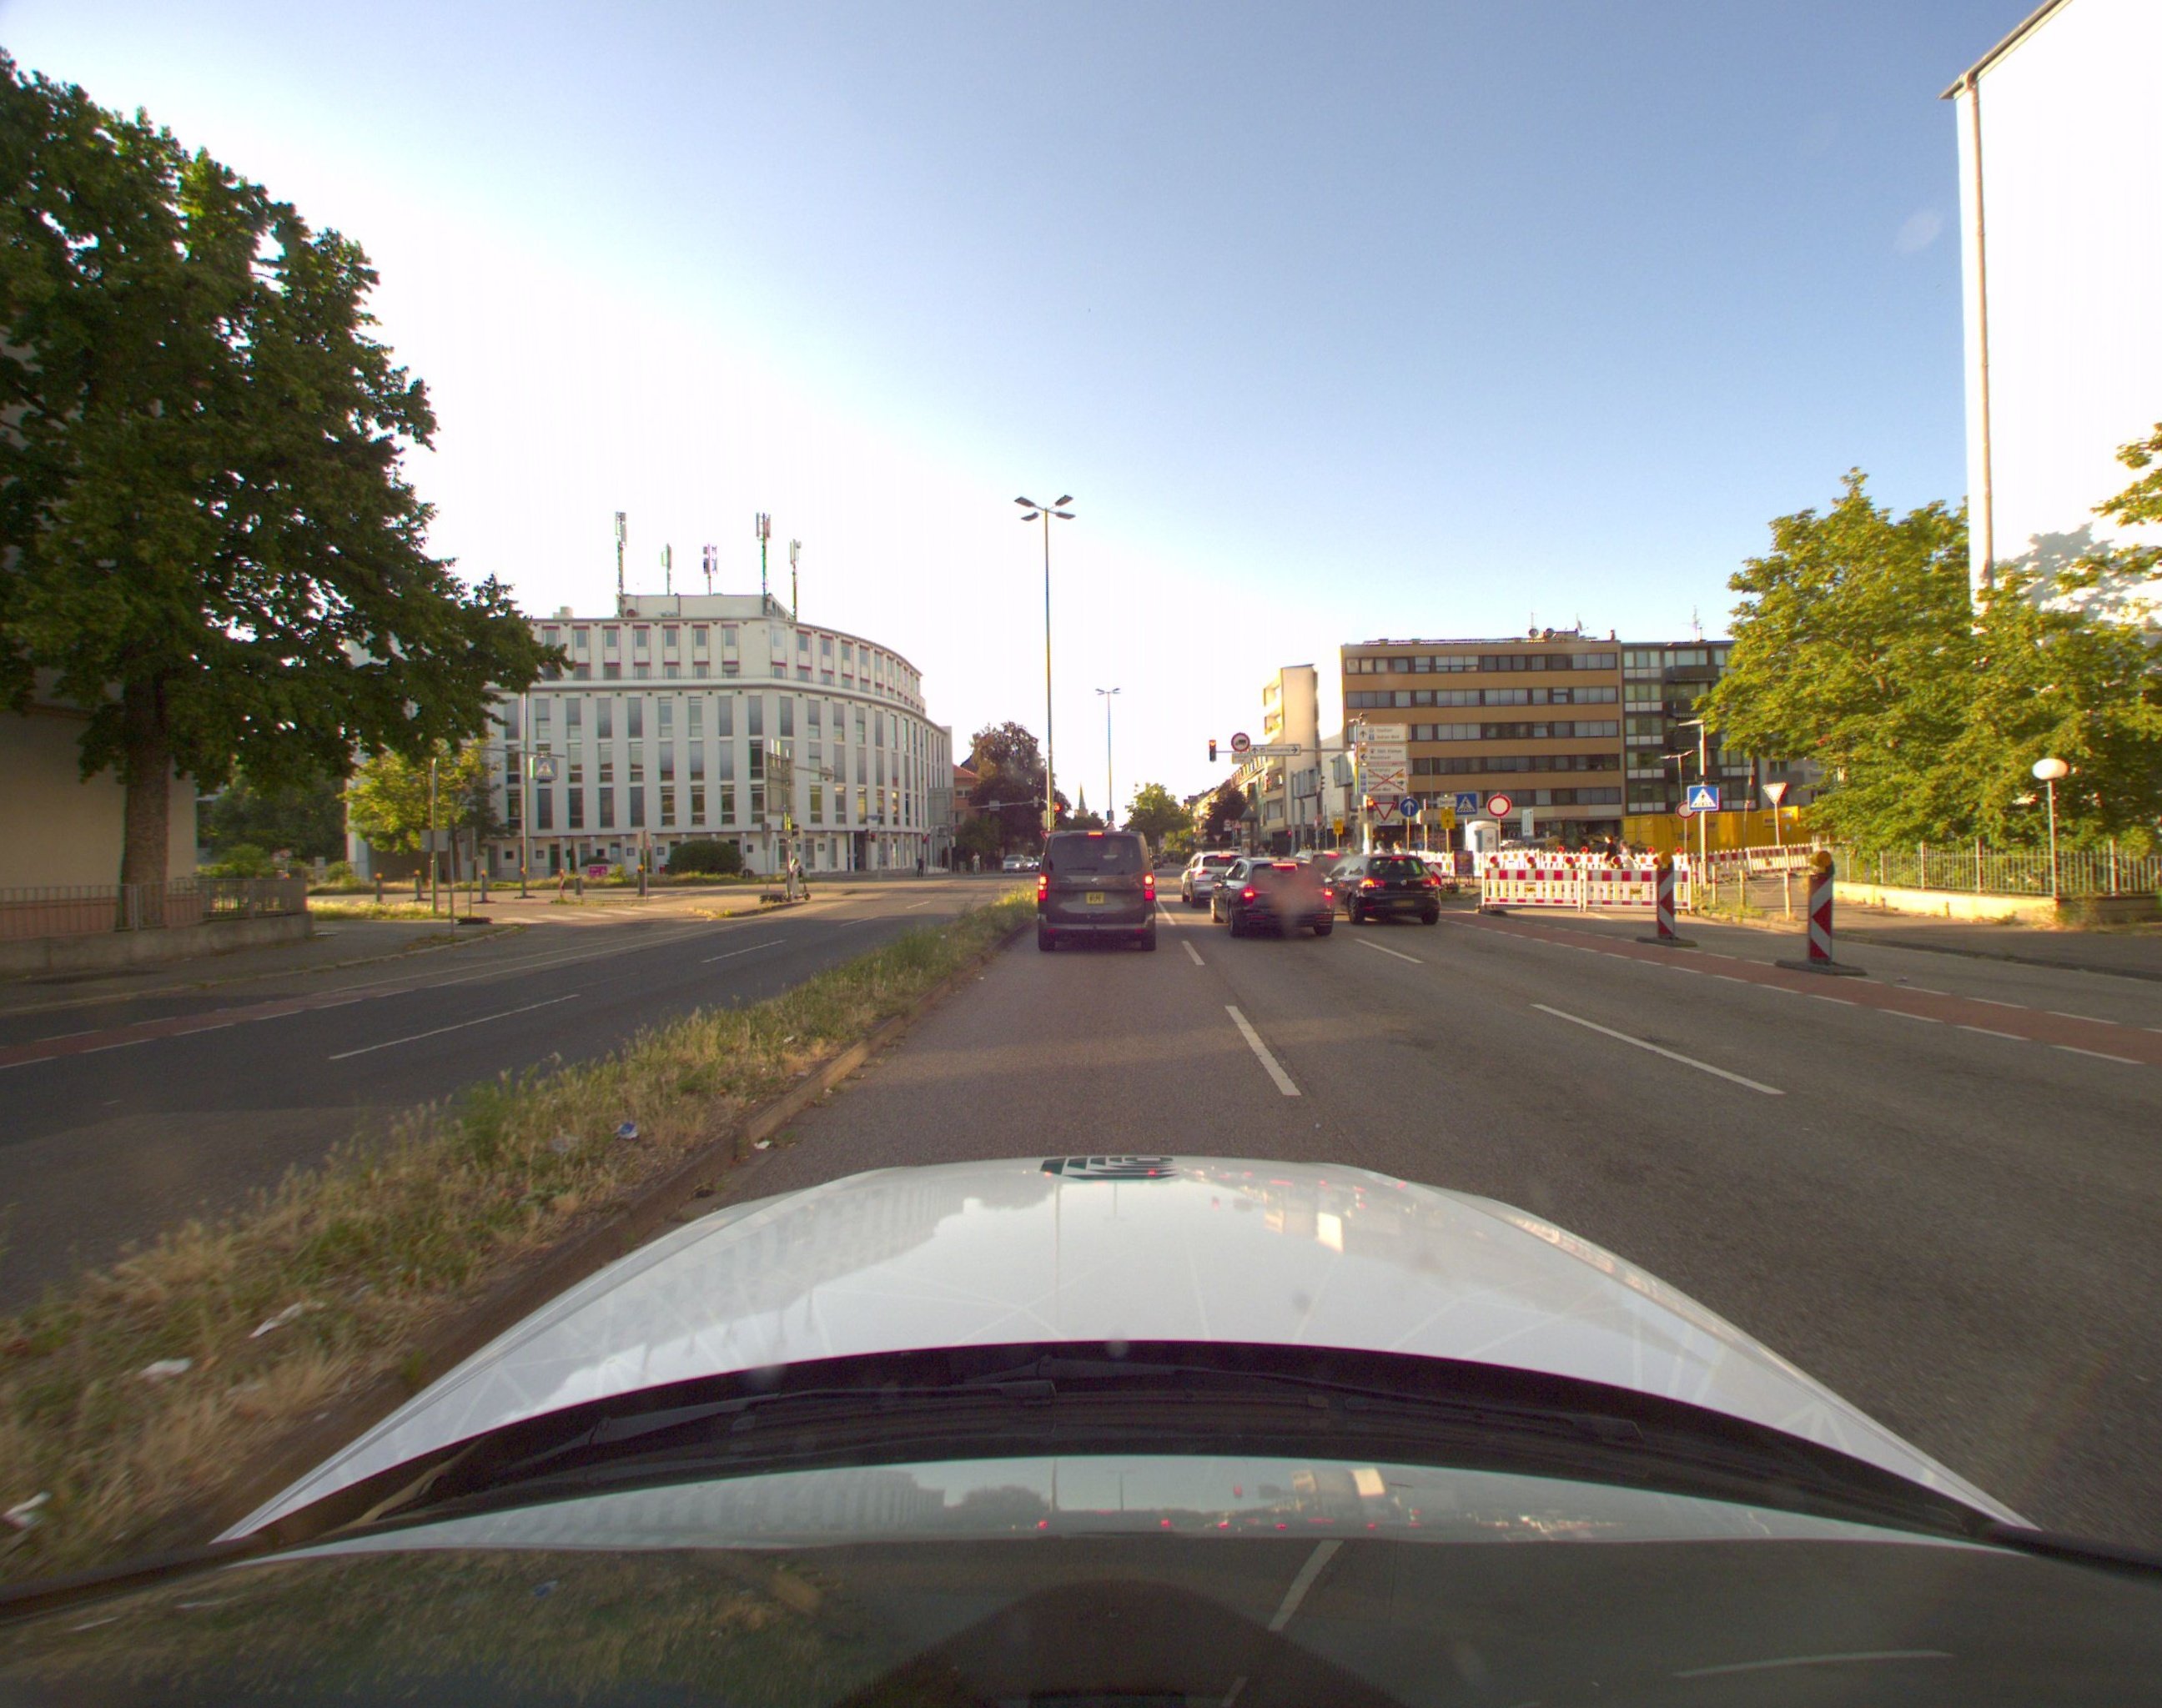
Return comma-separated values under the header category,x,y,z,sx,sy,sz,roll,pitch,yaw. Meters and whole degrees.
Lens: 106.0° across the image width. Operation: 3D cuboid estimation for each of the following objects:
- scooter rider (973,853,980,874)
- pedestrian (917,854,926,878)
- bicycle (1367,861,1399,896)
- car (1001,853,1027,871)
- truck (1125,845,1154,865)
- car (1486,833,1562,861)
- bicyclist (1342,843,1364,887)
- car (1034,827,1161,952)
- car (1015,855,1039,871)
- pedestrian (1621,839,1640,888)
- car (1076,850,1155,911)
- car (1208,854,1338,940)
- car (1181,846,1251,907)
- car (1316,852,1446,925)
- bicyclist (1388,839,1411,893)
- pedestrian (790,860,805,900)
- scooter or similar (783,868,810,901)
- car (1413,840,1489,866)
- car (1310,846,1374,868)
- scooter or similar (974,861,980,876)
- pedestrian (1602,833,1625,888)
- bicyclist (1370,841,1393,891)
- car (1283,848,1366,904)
category,x,y,z,sx,sy,sz,roll,pitch,yaw
scooter rider,-8.621,0.803,67.232,0.479,1.697,0.636,-2,0,2
pedestrian,-11.774,0.892,60.084,0.626,1.722,0.669,-1,0,-12
bicycle,9.394,0.744,25.378,0.335,1.008,1.857,-2,0,2
car,-5.847,0.664,71.115,1.849,1.420,4.001,-2,0,1
truck,6.327,0.119,88.766,2.126,2.086,4.618,-2,0,-8
car,31.105,-0.499,57.253,4.199,1.817,2.001,-2,0,2
bicyclist,9.489,0.381,28.397,0.511,1.525,0.726,-2,0,2
car,0.339,0.523,14.403,1.899,1.863,4.529,0,0,2
car,-5.093,0.815,76.914,1.849,1.420,4.001,-2,0,1
pedestrian,18.691,0.319,27.692,0.448,1.671,0.607,-2,0,40
car,0.956,0.674,22.906,1.986,1.530,4.002,-2,0,2
car,3.538,0.715,15.728,1.675,1.421,4.216,0,0,2
car,3.779,0.591,23.257,1.523,1.613,3.747,0,0,2
car,6.452,0.680,17.939,1.627,1.449,3.747,0,0,2
bicyclist,9.107,0.342,23.310,0.439,1.525,0.483,-2,0,2
pedestrian,-10.953,0.991,31.494,0.474,1.505,0.334,-1,0,-10
scooter or similar,-10.935,1.163,31.308,0.893,1.234,0.370,-1,0,-9
car,24.661,-0.069,54.318,4.335,1.549,1.783,-2,0,-7
car,18.661,0.232,58.232,3.979,1.420,1.785,-2,0,-4
scooter or similar,-8.587,1.184,67.176,0.284,1.188,1.170,-2,0,2
pedestrian,17.878,0.210,27.345,0.574,1.834,0.481,-1,0,-42
bicyclist,9.395,0.359,25.461,0.439,1.525,0.726,-2,0,2
car,6.943,0.589,23.533,1.499,1.449,3.307,-2,0,2
